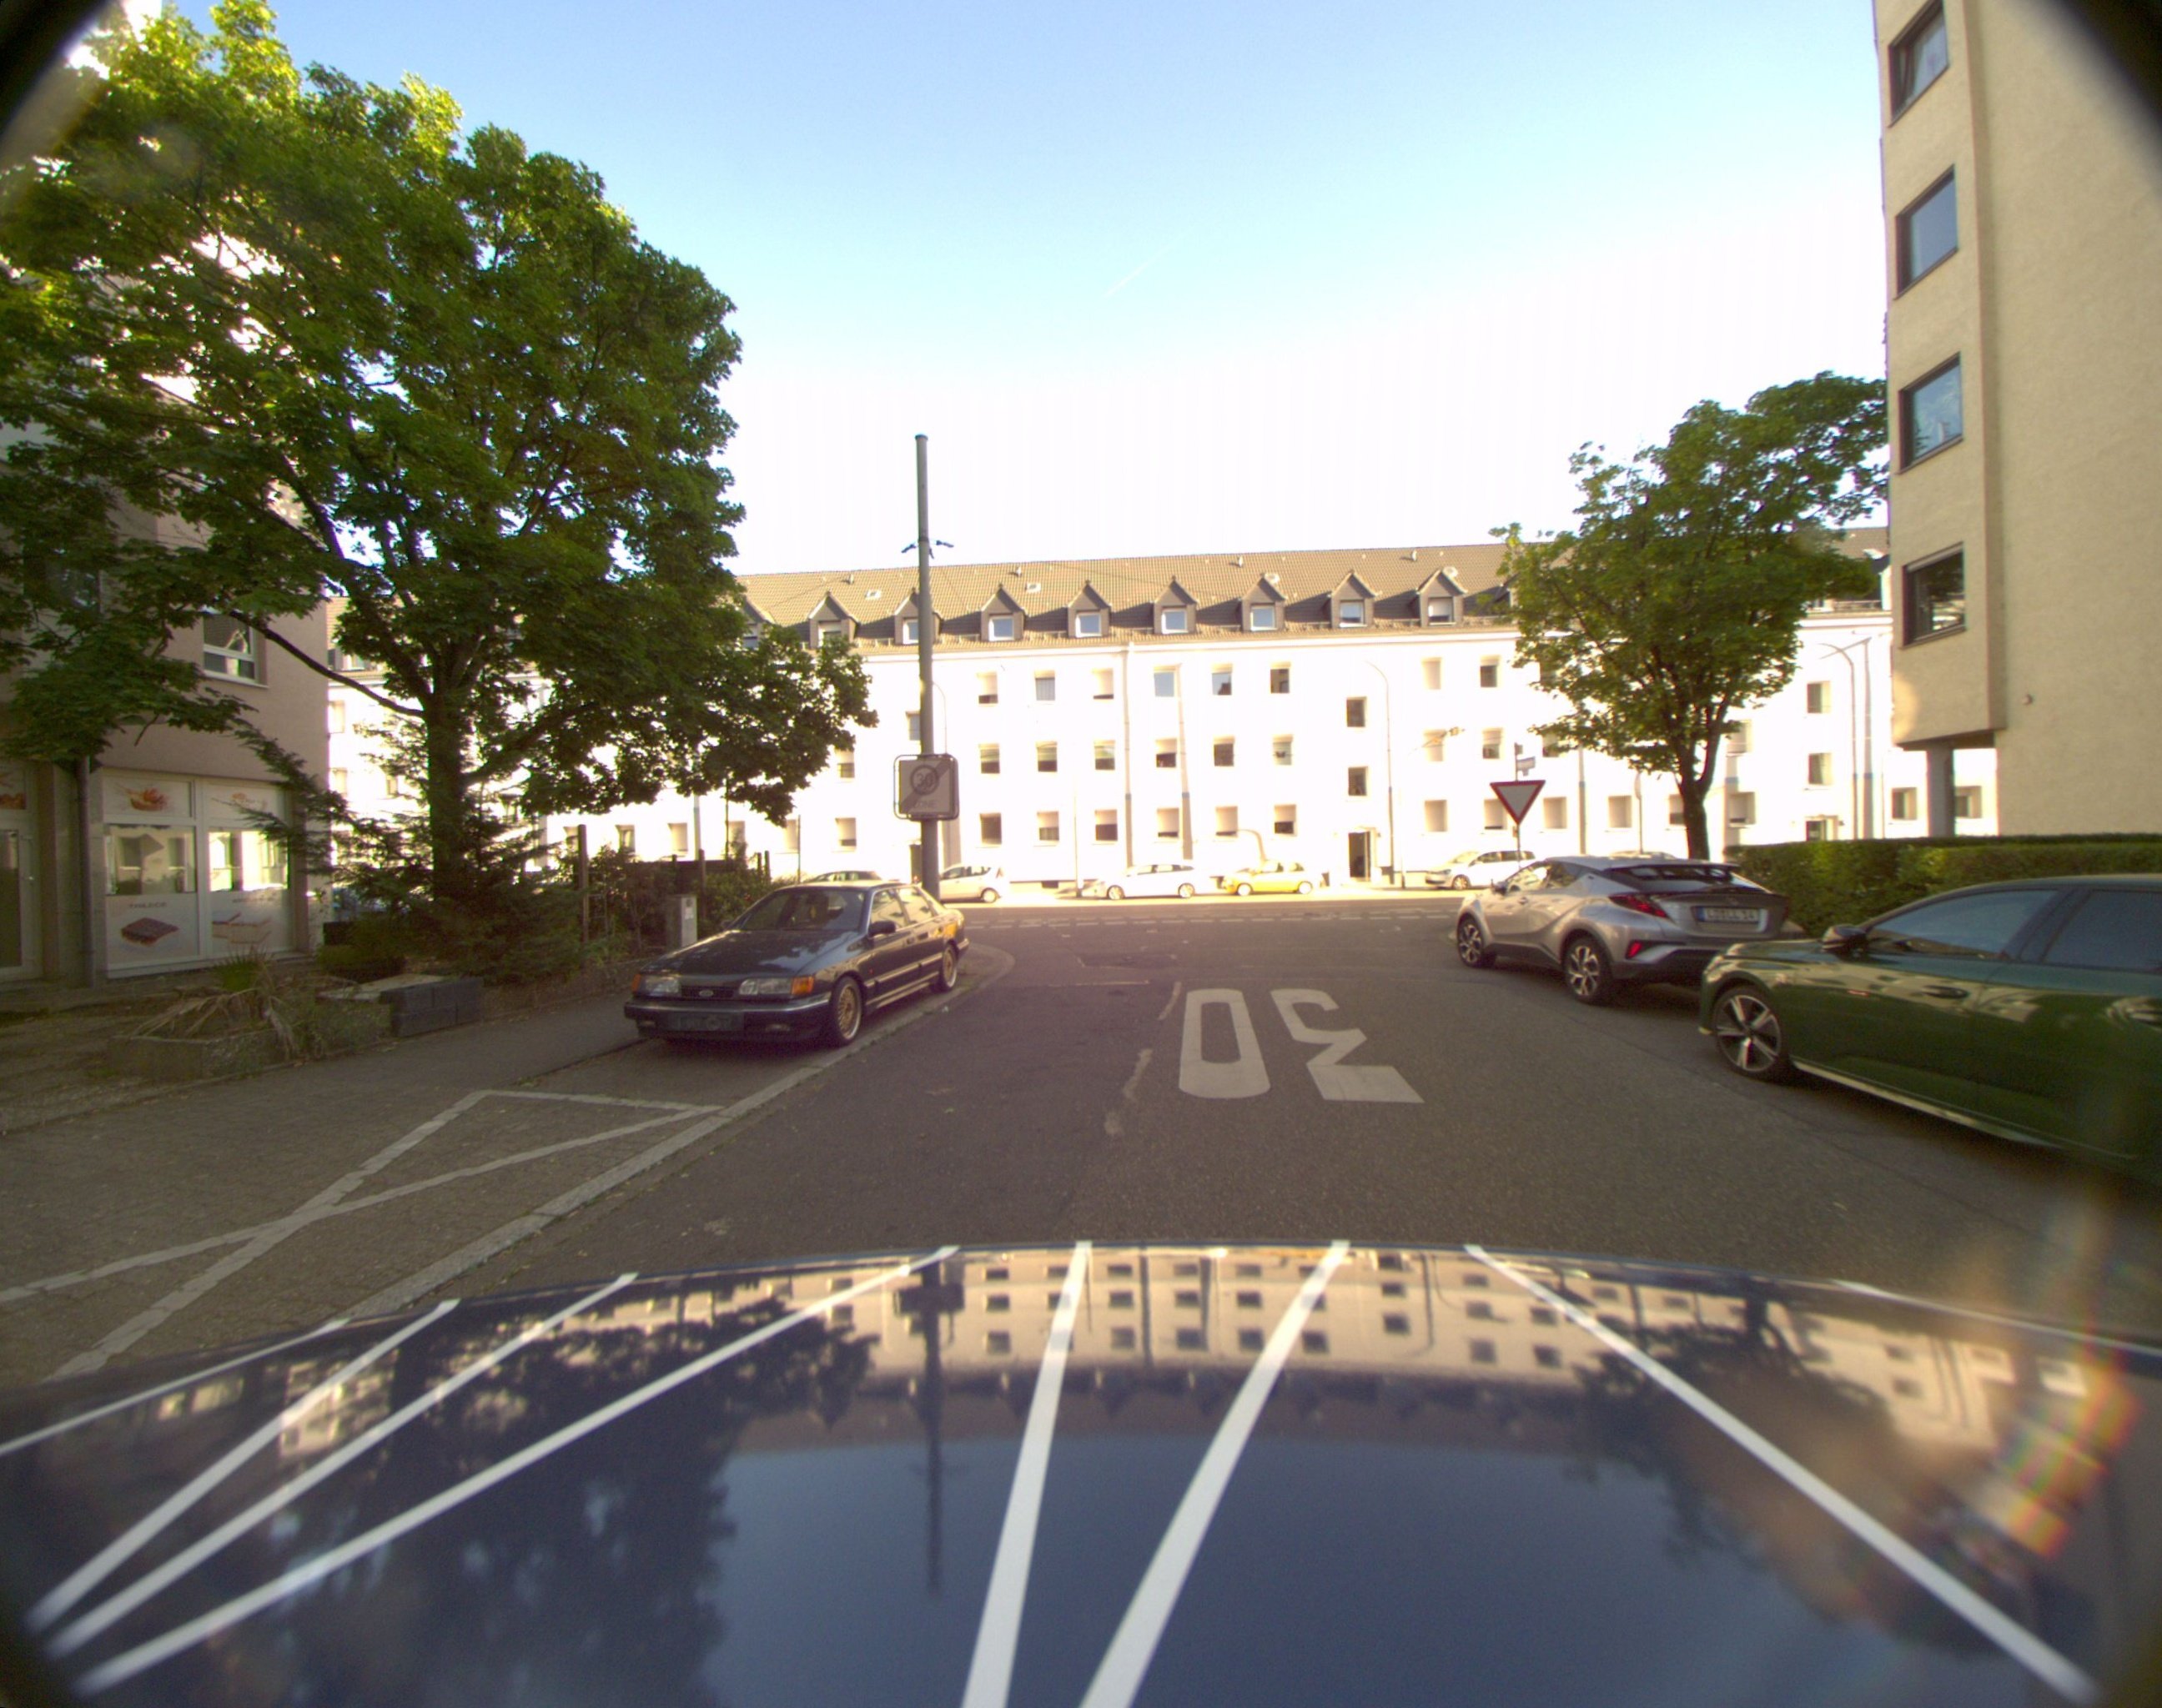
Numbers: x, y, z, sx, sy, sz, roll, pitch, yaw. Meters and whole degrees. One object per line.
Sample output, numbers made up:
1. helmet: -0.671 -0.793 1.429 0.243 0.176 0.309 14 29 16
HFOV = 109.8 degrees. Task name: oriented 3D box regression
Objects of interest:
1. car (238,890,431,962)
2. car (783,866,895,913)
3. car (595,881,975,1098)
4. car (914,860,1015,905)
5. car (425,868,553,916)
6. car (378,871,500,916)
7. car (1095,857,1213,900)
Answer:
1. car: -16.337 1.561 16.724 2.879 1.348 1.262 -2 1 -2
2. car: -9.773 1.416 30.817 3.875 1.498 1.649 -5 0 2
3. car: -2.587 1.091 7.991 1.664 1.399 4.510 1 0 9
4. car: -4.632 1.115 30.540 3.704 1.597 1.649 -2 0 2
5. car: -24.526 1.562 31.569 3.996 1.770 1.695 -2 0 3
6. car: -28.327 1.714 33.600 3.996 1.770 1.695 -2 0 3
7. car: 2.874 0.956 30.313 4.490 1.498 1.945 -2 0 3
